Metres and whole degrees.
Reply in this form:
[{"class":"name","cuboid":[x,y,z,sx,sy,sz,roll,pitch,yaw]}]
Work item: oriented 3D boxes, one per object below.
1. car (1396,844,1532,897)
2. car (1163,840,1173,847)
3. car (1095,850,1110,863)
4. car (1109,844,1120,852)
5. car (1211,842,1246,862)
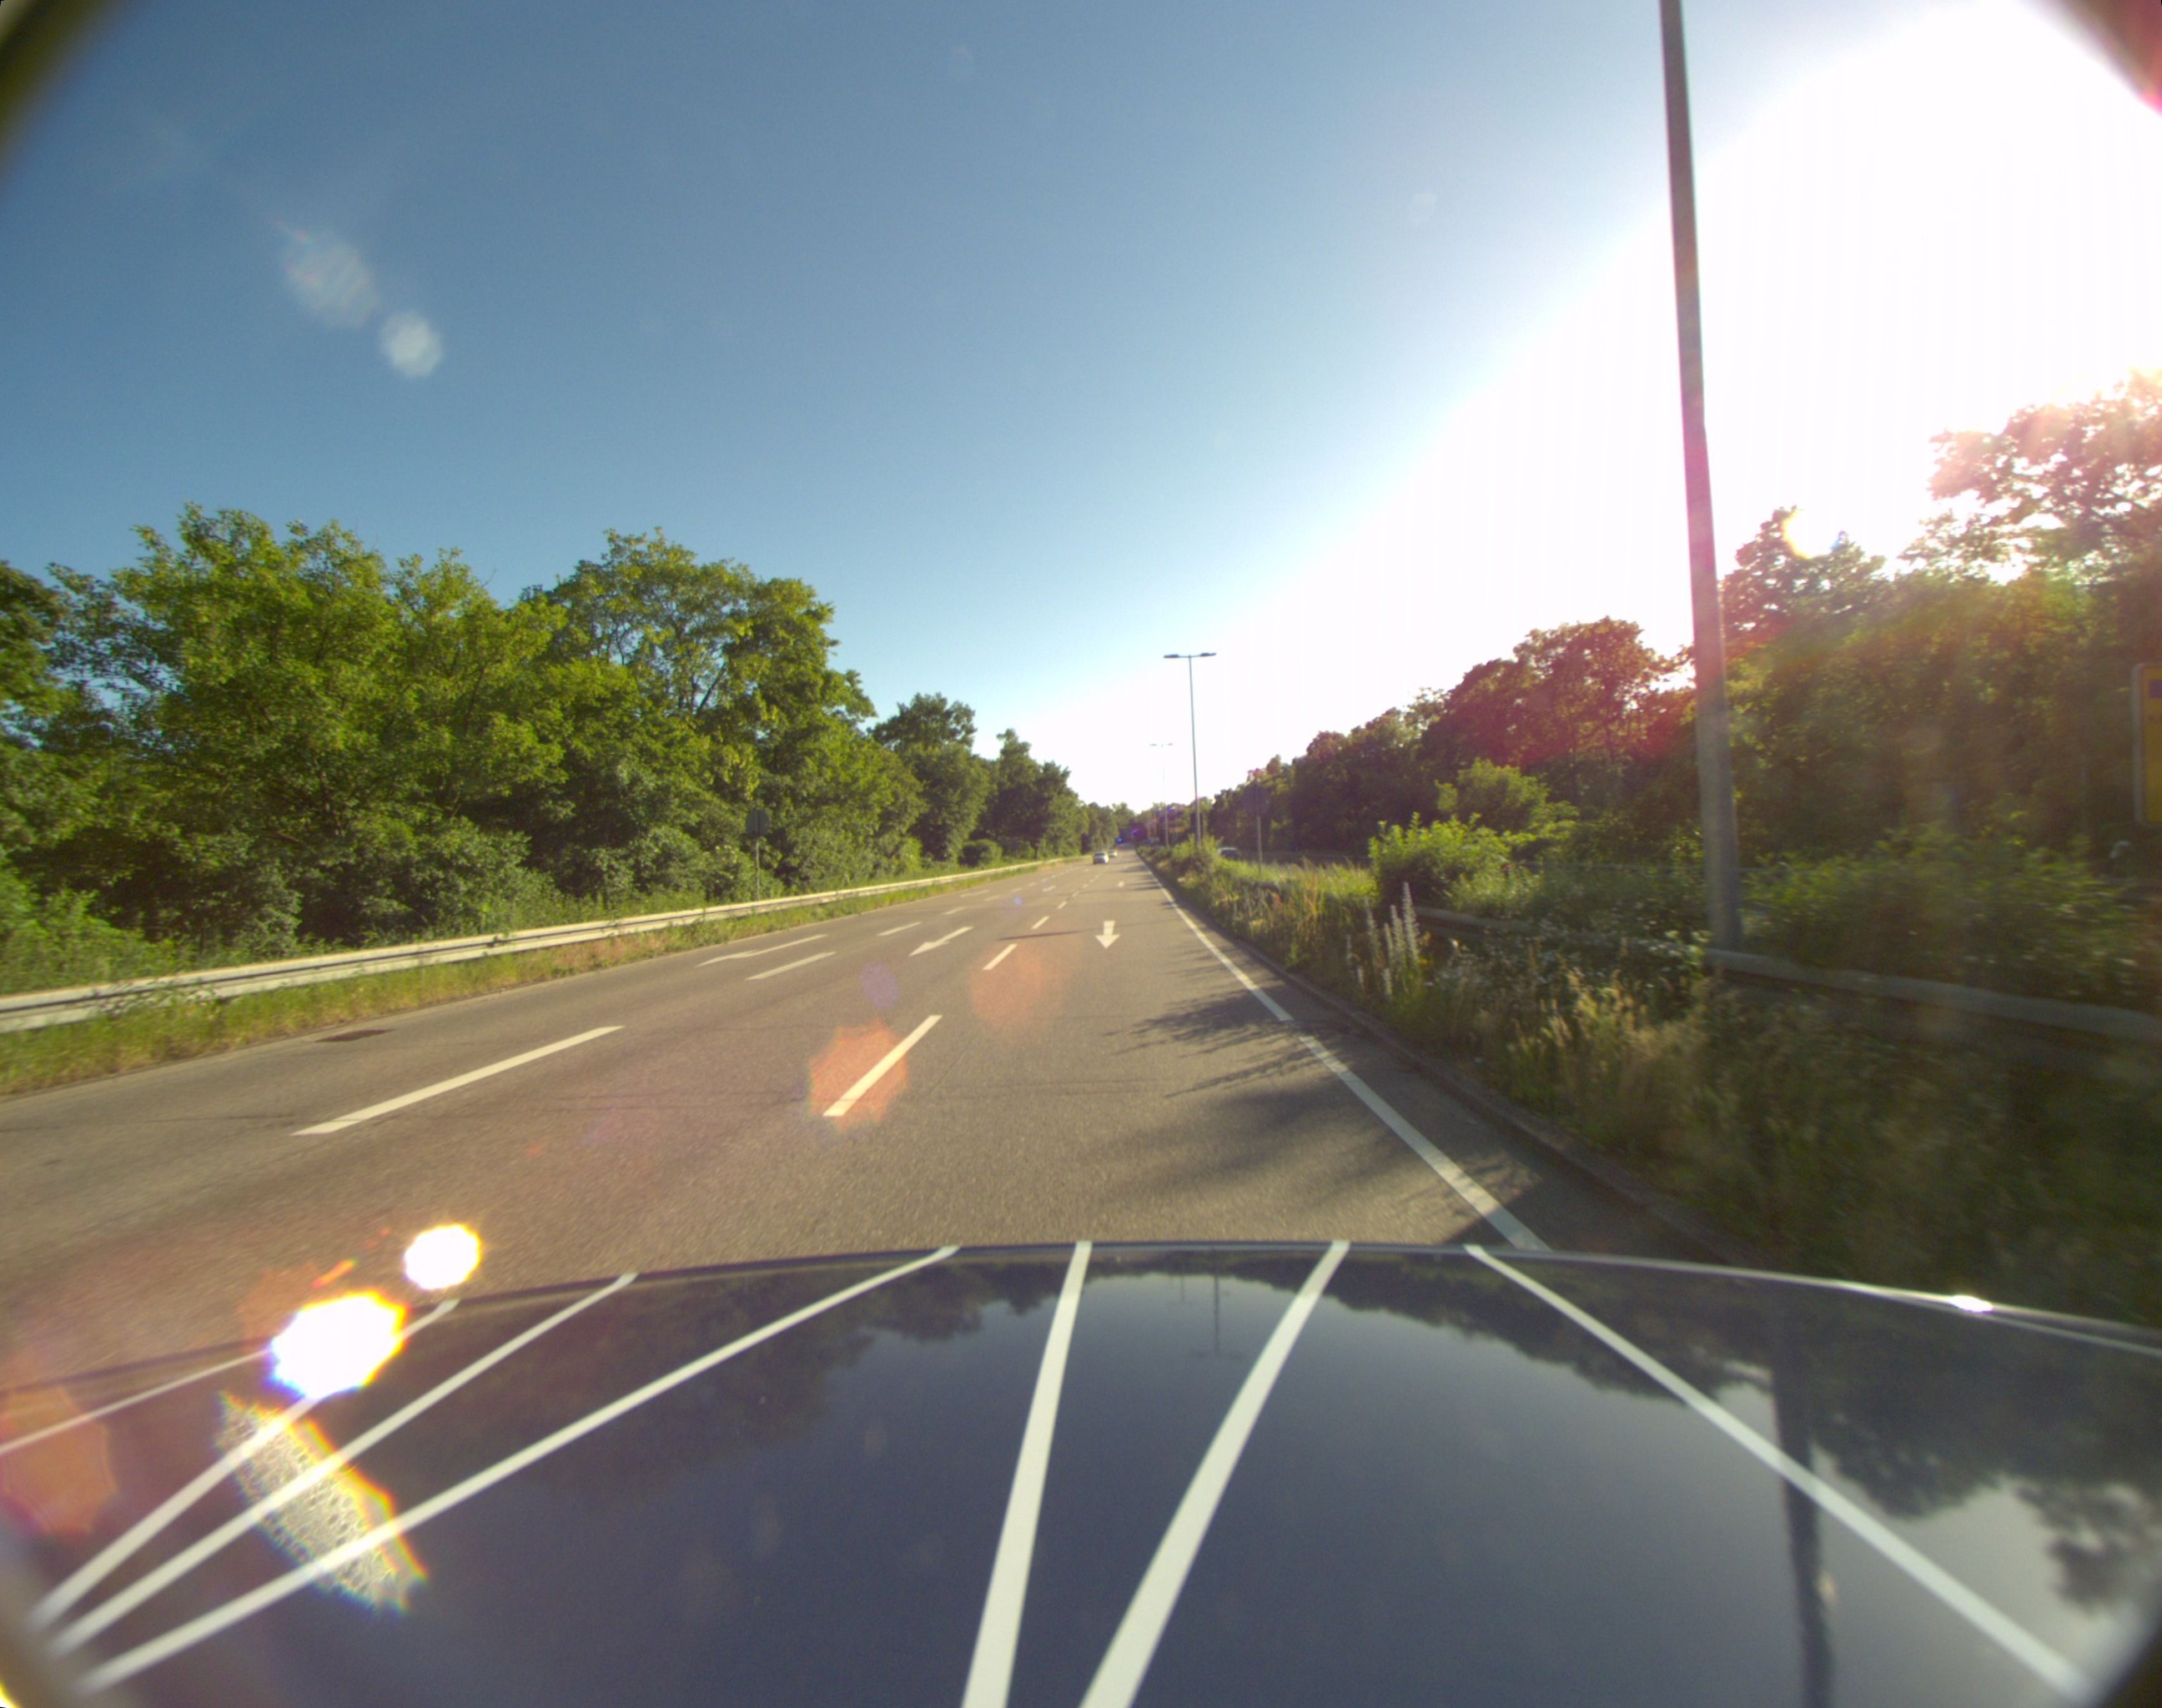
[{"class":"car","cuboid":[11.190,0.419,22.583,1.890,1.412,4.364,-1,1,1]},{"class":"car","cuboid":[18.410,-2.199,161.412,1.777,1.349,4.462,-3,1,4]},{"class":"car","cuboid":[2.621,0.251,93.295,1.681,1.477,3.391,-3,0,3]},{"class":"car","cuboid":[6.677,-1.125,151.247,1.910,1.477,3.345,-3,0,3]},{"class":"car","cuboid":[10.818,-0.162,55.941,1.809,1.408,4.531,-2,1,1]}]
